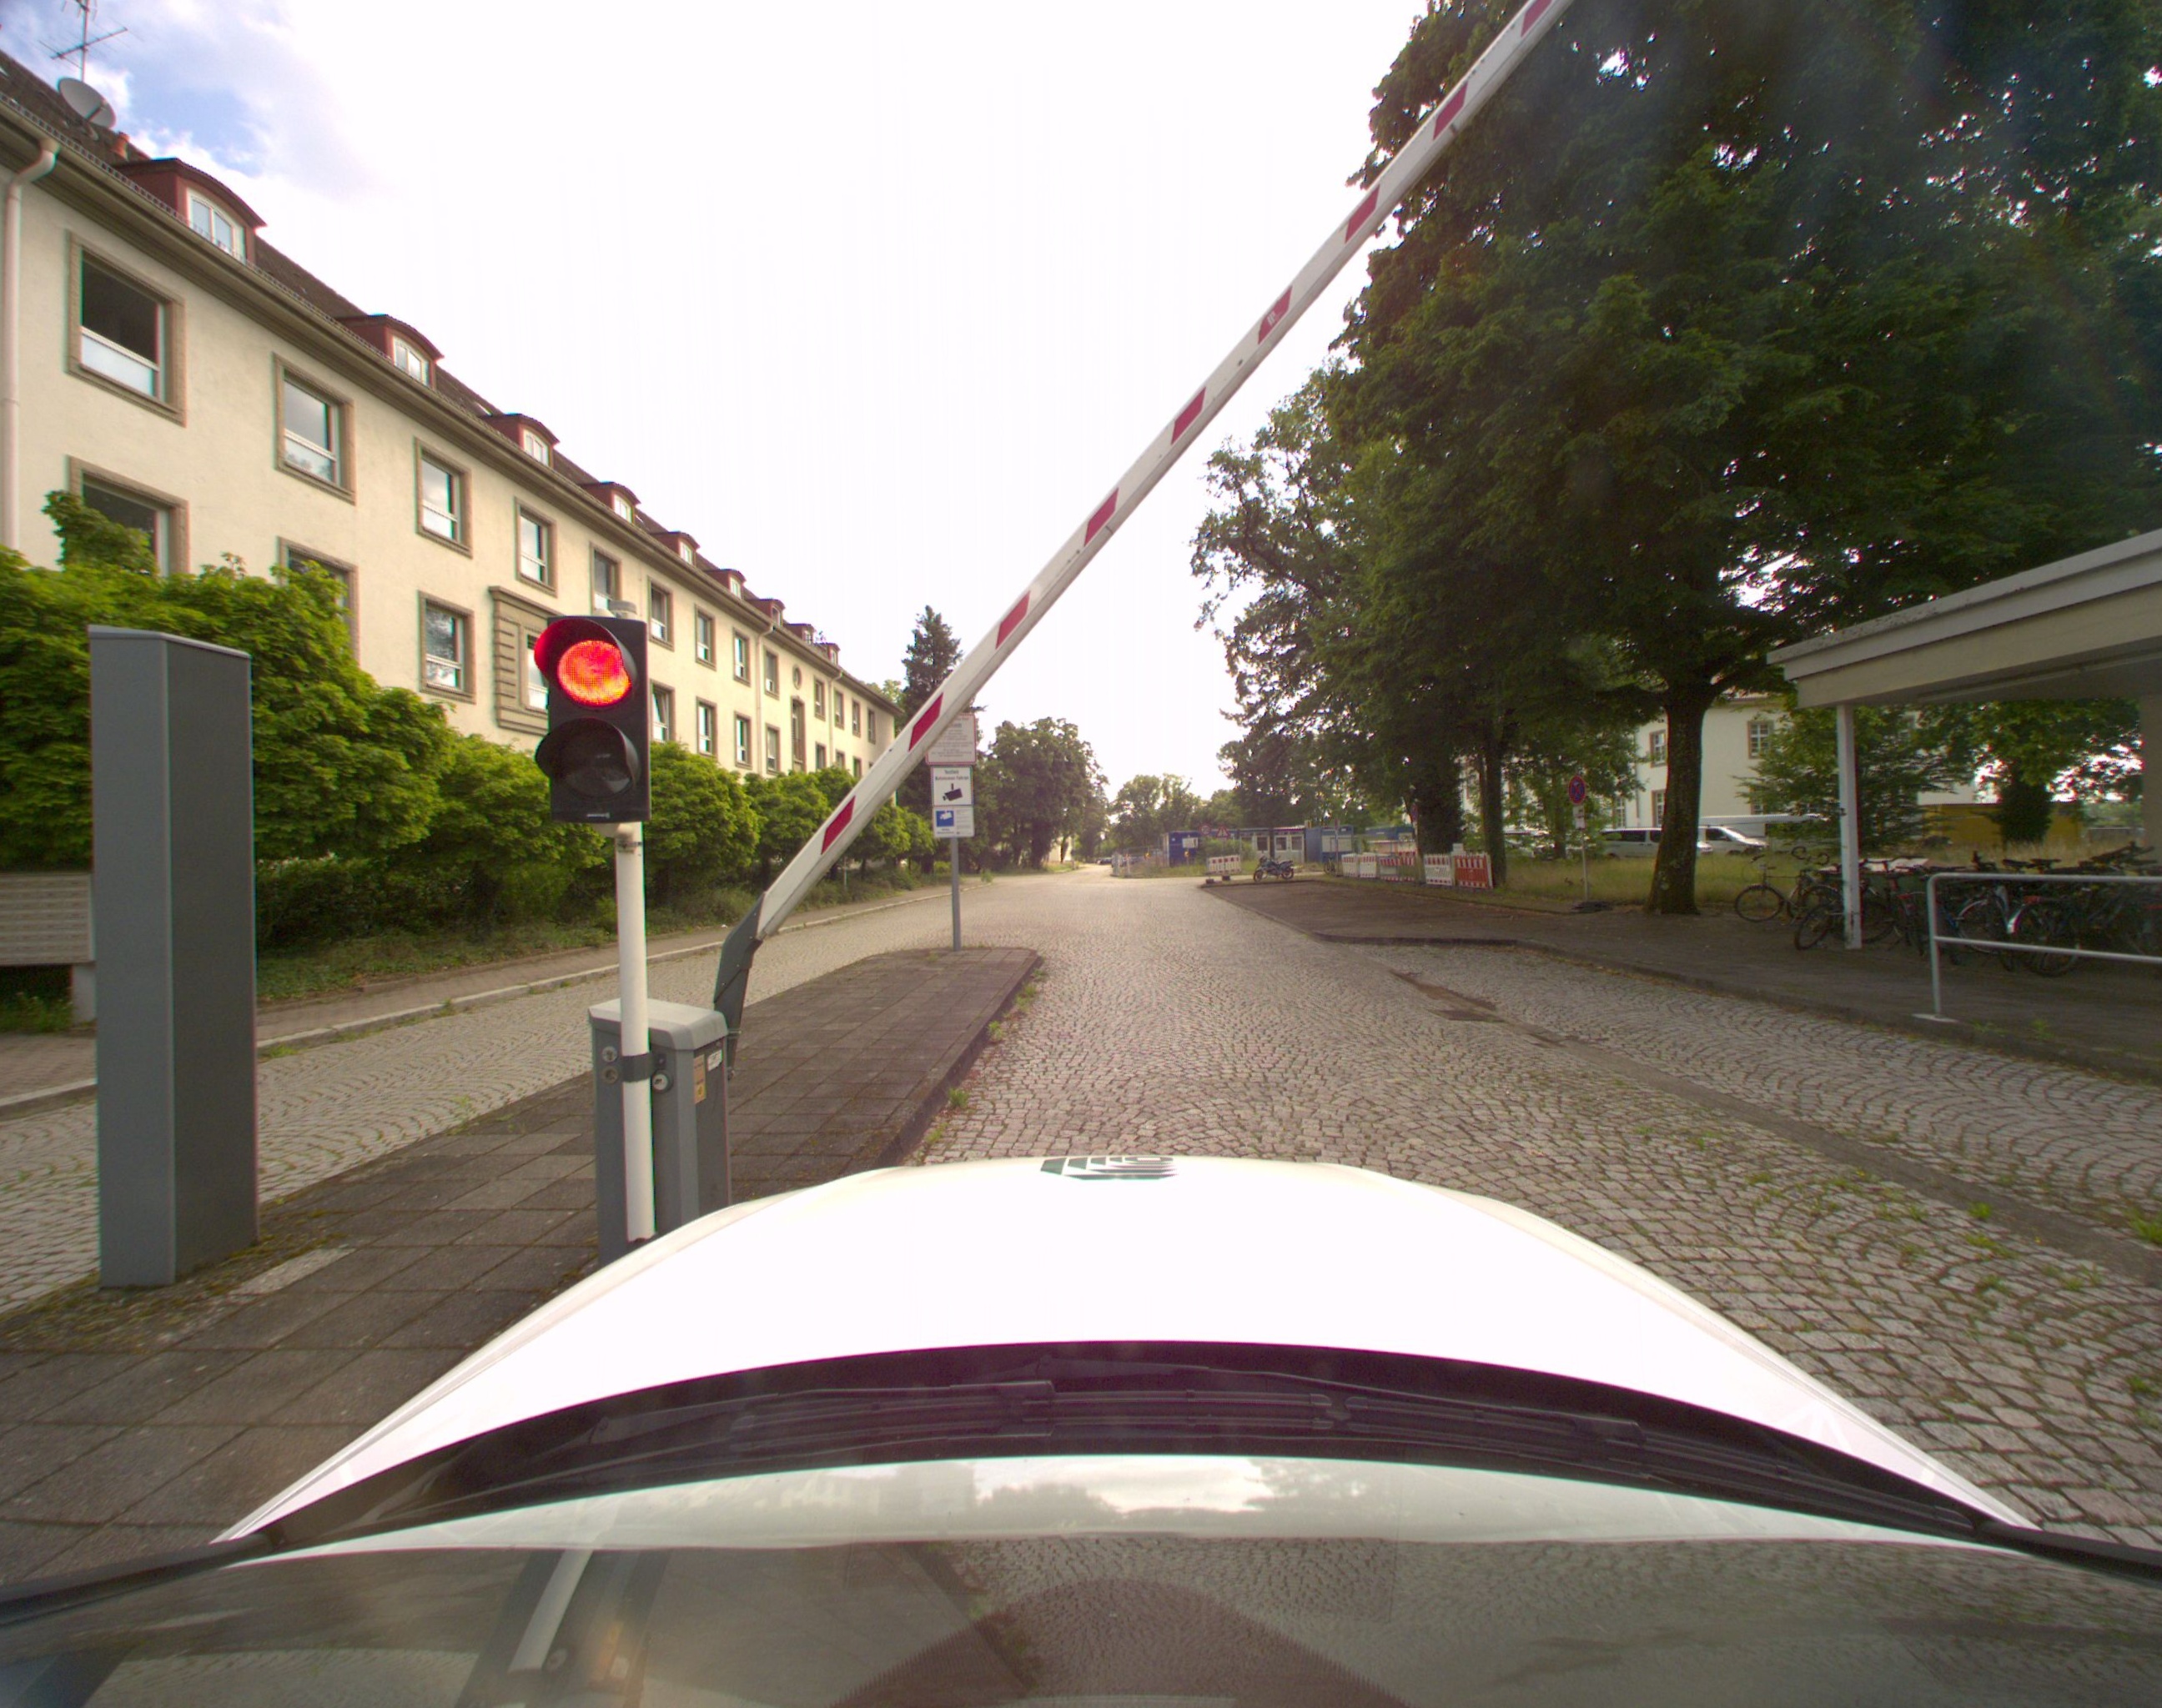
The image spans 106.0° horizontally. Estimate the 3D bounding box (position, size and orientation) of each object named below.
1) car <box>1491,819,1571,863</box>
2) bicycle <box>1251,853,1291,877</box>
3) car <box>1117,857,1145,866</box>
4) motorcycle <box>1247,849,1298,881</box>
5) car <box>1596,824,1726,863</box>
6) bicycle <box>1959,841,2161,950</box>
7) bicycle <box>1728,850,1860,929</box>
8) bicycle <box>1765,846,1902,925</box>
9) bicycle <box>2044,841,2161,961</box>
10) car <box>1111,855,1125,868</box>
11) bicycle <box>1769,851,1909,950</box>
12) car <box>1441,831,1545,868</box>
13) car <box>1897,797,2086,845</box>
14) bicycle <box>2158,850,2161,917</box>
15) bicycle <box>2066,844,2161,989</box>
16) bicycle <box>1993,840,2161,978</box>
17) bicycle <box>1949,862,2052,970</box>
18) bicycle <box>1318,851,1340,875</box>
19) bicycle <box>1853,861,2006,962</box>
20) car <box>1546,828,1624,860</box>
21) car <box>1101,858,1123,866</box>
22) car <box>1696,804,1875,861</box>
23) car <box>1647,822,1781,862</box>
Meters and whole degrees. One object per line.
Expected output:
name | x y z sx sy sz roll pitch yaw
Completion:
car | 27.516 -0.730 50.061 1.984 2.556 5.916 0 -1 4
bicycle | 9.942 0.581 42.574 1.882 1.197 0.659 -2 0 21
car | 8.427 1.275 136.965 4.375 1.510 2.005 -1 -1 10
motorcycle | 9.428 0.536 40.098 2.271 1.485 0.756 -2 0 -3
car | 28.360 -0.459 40.014 2.003 1.825 4.834 0 -1 -25
bicycle | 11.705 0.479 9.747 1.736 1.165 0.608 -3 0 -3
bicycle | 11.093 0.518 12.740 0.595 1.117 1.635 -3 0 1
bicycle | 11.717 0.461 12.755 0.595 1.117 1.635 -3 0 1
bicycle | 11.532 0.472 8.722 1.736 1.165 0.608 -3 0 -3
car | 5.983 1.255 131.502 1.987 2.014 4.091 -1 -1 1
bicycle | 9.533 0.567 10.239 1.677 1.108 0.337 -3 0 -12
car | 23.123 -0.264 45.827 4.838 1.920 1.908 -2 1 3
car | 42.122 -1.495 37.803 6.116 2.095 2.214 0 -1 3
bicycle | 9.882 0.515 6.765 1.630 1.190 0.418 -3 0 -11
bicycle | 9.855 0.520 7.378 1.630 1.190 0.418 -3 0 -11
bicycle | 9.830 0.507 7.932 1.631 1.190 0.471 -3 0 -12
bicycle | 9.666 0.620 8.550 1.639 0.976 0.319 -3 0 -29
bicycle | 12.668 0.468 41.614 0.639 1.169 1.907 -2 0 4
bicycle | 9.756 0.621 9.355 1.751 0.976 0.752 -3 0 -28
car | 30.539 -0.548 49.552 1.985 1.825 4.880 0 -1 4
car | 6.797 1.801 178.195 4.770 1.641 1.997 -1 -1 -4
car | 34.342 -0.936 40.017 2.005 2.578 6.365 0 -1 -27
car | 31.089 -0.538 40.198 2.003 1.825 4.834 0 -1 -25
